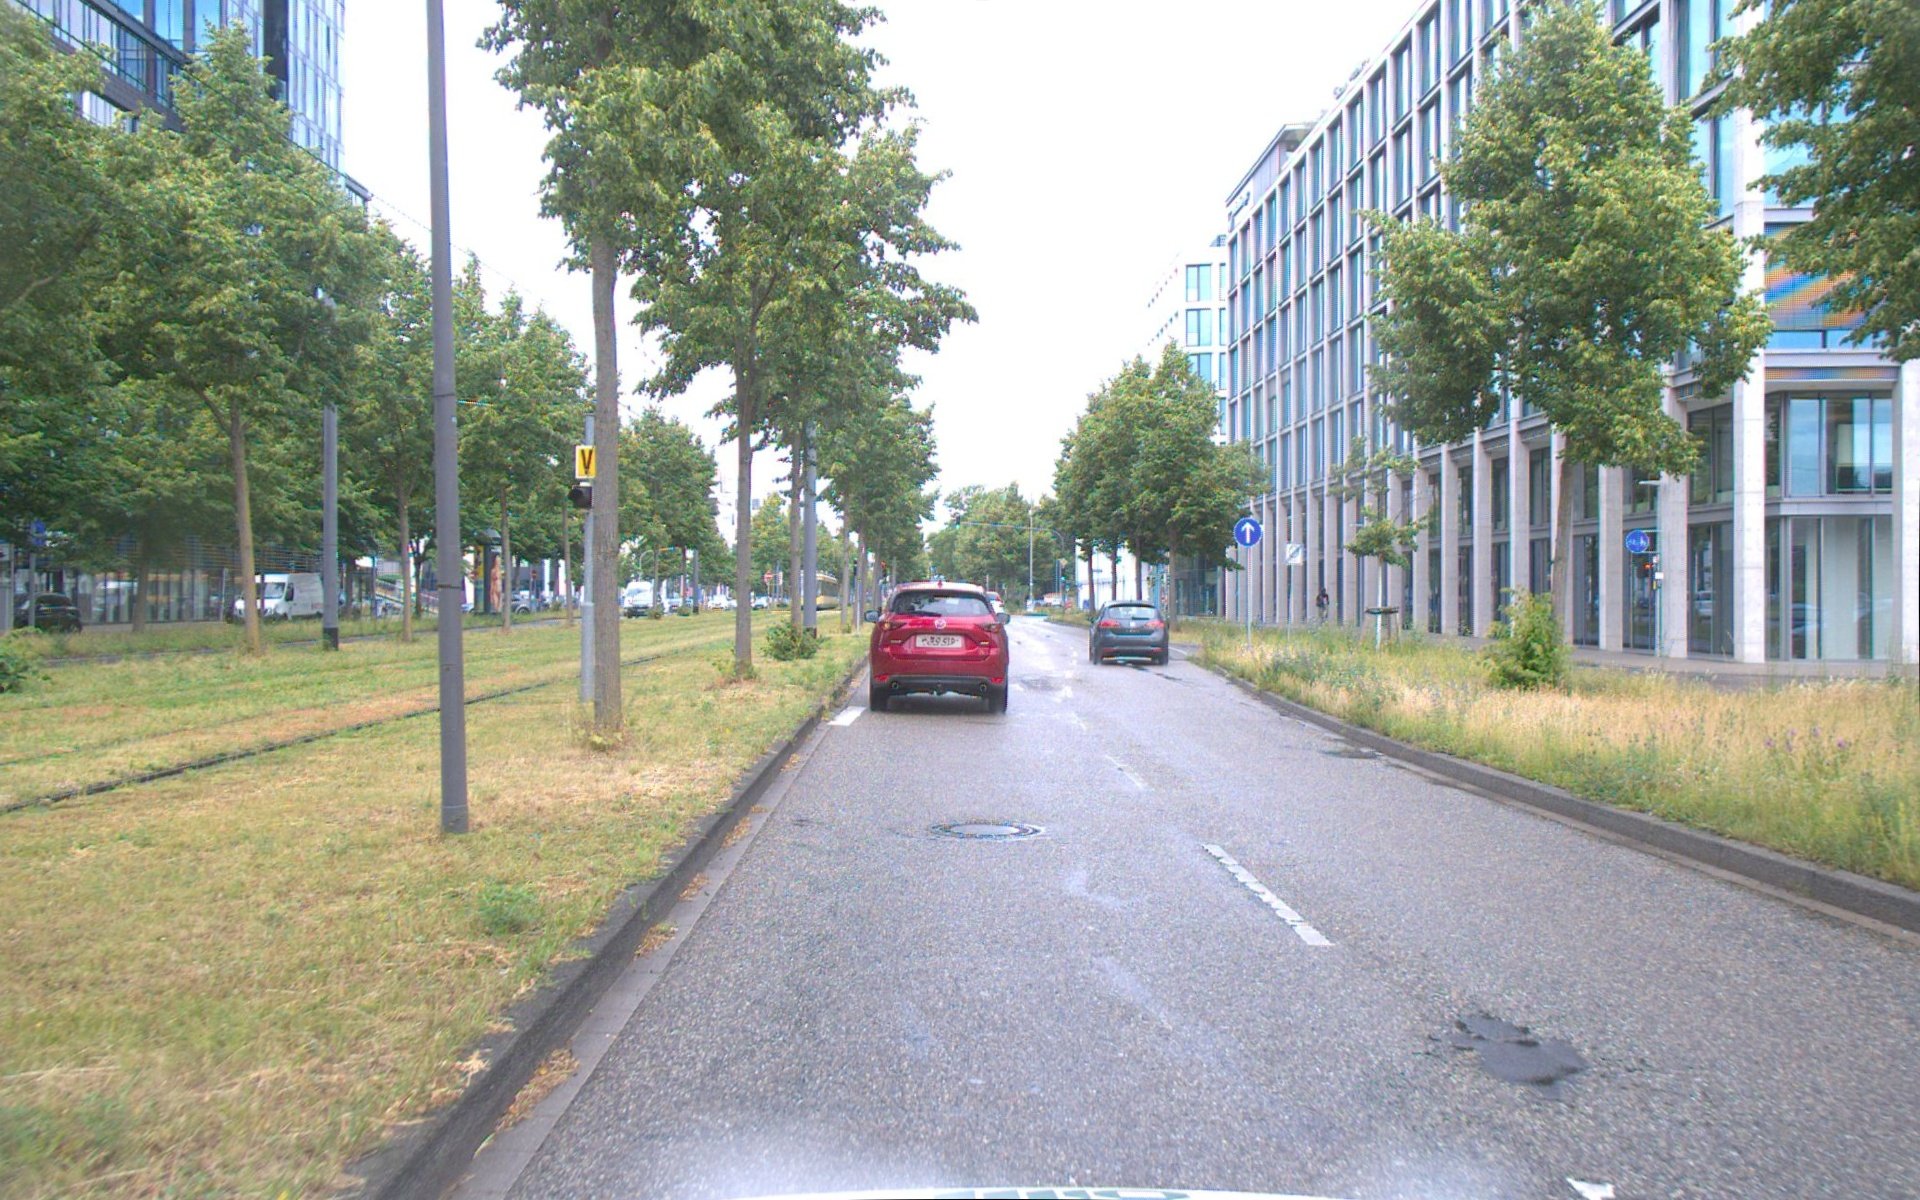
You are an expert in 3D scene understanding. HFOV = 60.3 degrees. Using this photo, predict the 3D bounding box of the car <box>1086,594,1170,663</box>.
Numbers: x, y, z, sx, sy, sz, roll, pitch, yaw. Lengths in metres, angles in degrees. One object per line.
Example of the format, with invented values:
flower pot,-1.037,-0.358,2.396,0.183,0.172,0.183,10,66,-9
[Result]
car,3.887,0.629,38.735,1.707,1.490,3.782,0,0,2

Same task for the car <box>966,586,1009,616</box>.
car,1.401,0.030,85.833,1.928,1.462,4.550,2,0,-3

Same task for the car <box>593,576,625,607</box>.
car,-30.619,-0.736,144.445,2.212,2.606,4.650,1,0,-6

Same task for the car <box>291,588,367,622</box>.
car,-29.379,0.218,77.146,1.954,1.548,4.604,0,0,-3

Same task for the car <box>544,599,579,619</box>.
car,-30.983,0.704,128.699,1.955,1.510,4.440,1,0,-6

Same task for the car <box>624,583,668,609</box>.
car,-18.703,-0.244,98.752,1.825,1.551,4.478,0,0,-1

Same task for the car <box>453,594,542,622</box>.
car,-26.945,0.445,96.445,4.629,1.548,1.975,0,0,-36

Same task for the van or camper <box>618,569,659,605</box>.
van or camper,-22.635,-0.924,116.665,1.870,2.453,5.401,0,0,-1

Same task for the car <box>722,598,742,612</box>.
car,-26.542,0.569,192.819,1.954,1.646,3.998,0,0,-3

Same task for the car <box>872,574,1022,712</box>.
car,-0.224,0.527,22.602,1.860,1.706,3.998,0,0,-2

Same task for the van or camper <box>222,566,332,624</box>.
van or camper,-29.285,-0.225,71.169,2.384,2.356,5.848,0,0,-1

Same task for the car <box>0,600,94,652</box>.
car,-28.276,0.763,50.362,1.667,1.475,4.240,0,0,-1

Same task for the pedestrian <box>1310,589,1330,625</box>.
pedestrian,17.322,0.331,79.559,0.702,1.744,0.861,-2,0,-2

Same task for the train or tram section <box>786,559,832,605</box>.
train or tram section,-12.921,-1.542,142.481,3.065,3.723,13.402,0,0,-1

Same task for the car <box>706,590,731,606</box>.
car,-21.687,-0.192,148.589,1.675,1.429,3.999,0,0,-2
